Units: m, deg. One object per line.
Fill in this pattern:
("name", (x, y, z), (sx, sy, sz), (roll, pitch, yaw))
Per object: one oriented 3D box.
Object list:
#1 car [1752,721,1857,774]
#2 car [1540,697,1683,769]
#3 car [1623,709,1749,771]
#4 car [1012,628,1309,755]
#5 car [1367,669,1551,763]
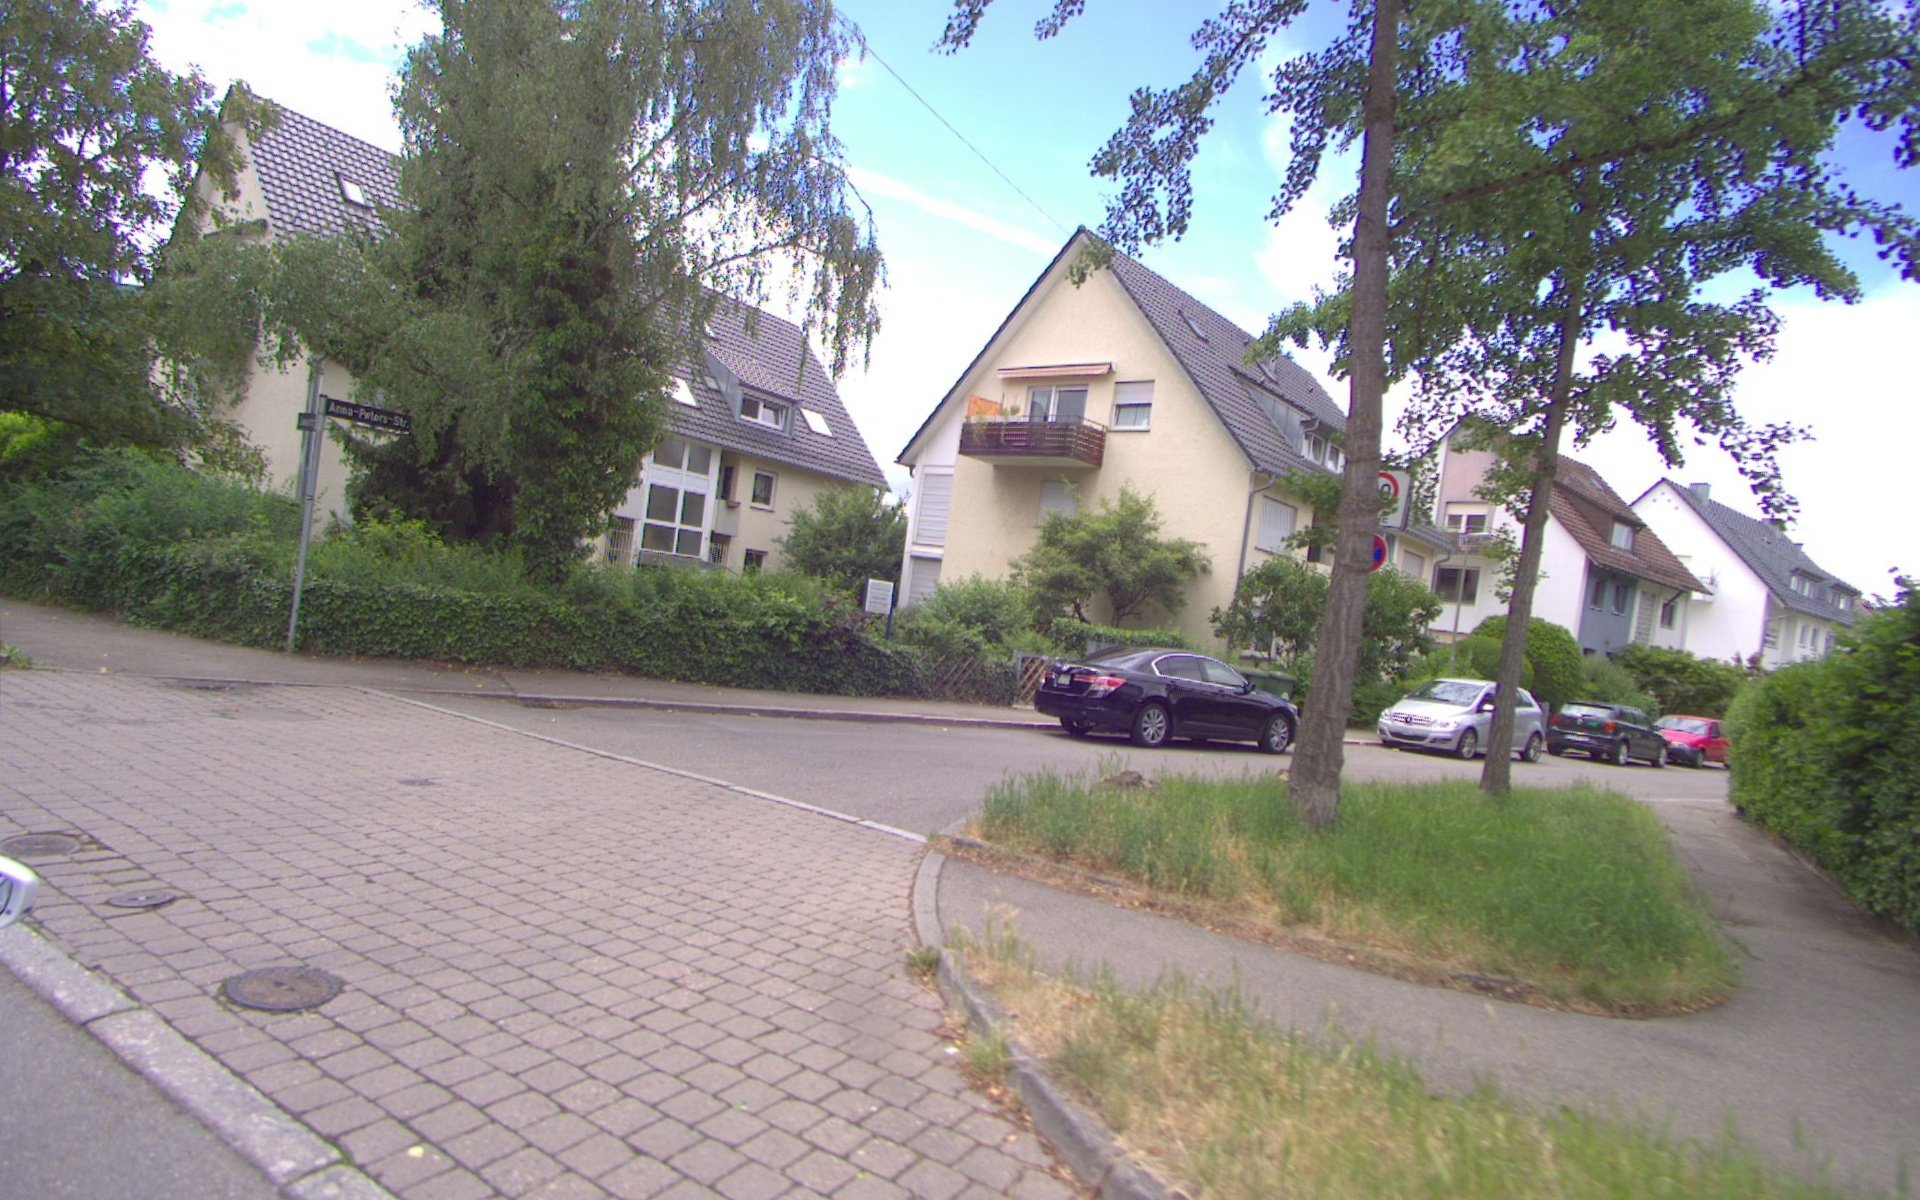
("car", (29.840, 5.216, 35.504), (4.425, 1.480, 1.851), (9, -3, -37))
("car", (16.479, 3.369, 25.388), (3.973, 1.386, 1.722), (9, -1, -38))
("car", (20.548, 3.975, 28.439), (3.833, 1.328, 1.695), (9, -1, -36))
("car", (3.182, 1.450, 15.625), (4.419, 1.480, 1.853), (8, -3, -34))
("car", (10.533, 2.456, 21.141), (3.935, 1.573, 1.748), (8, -3, -36))
